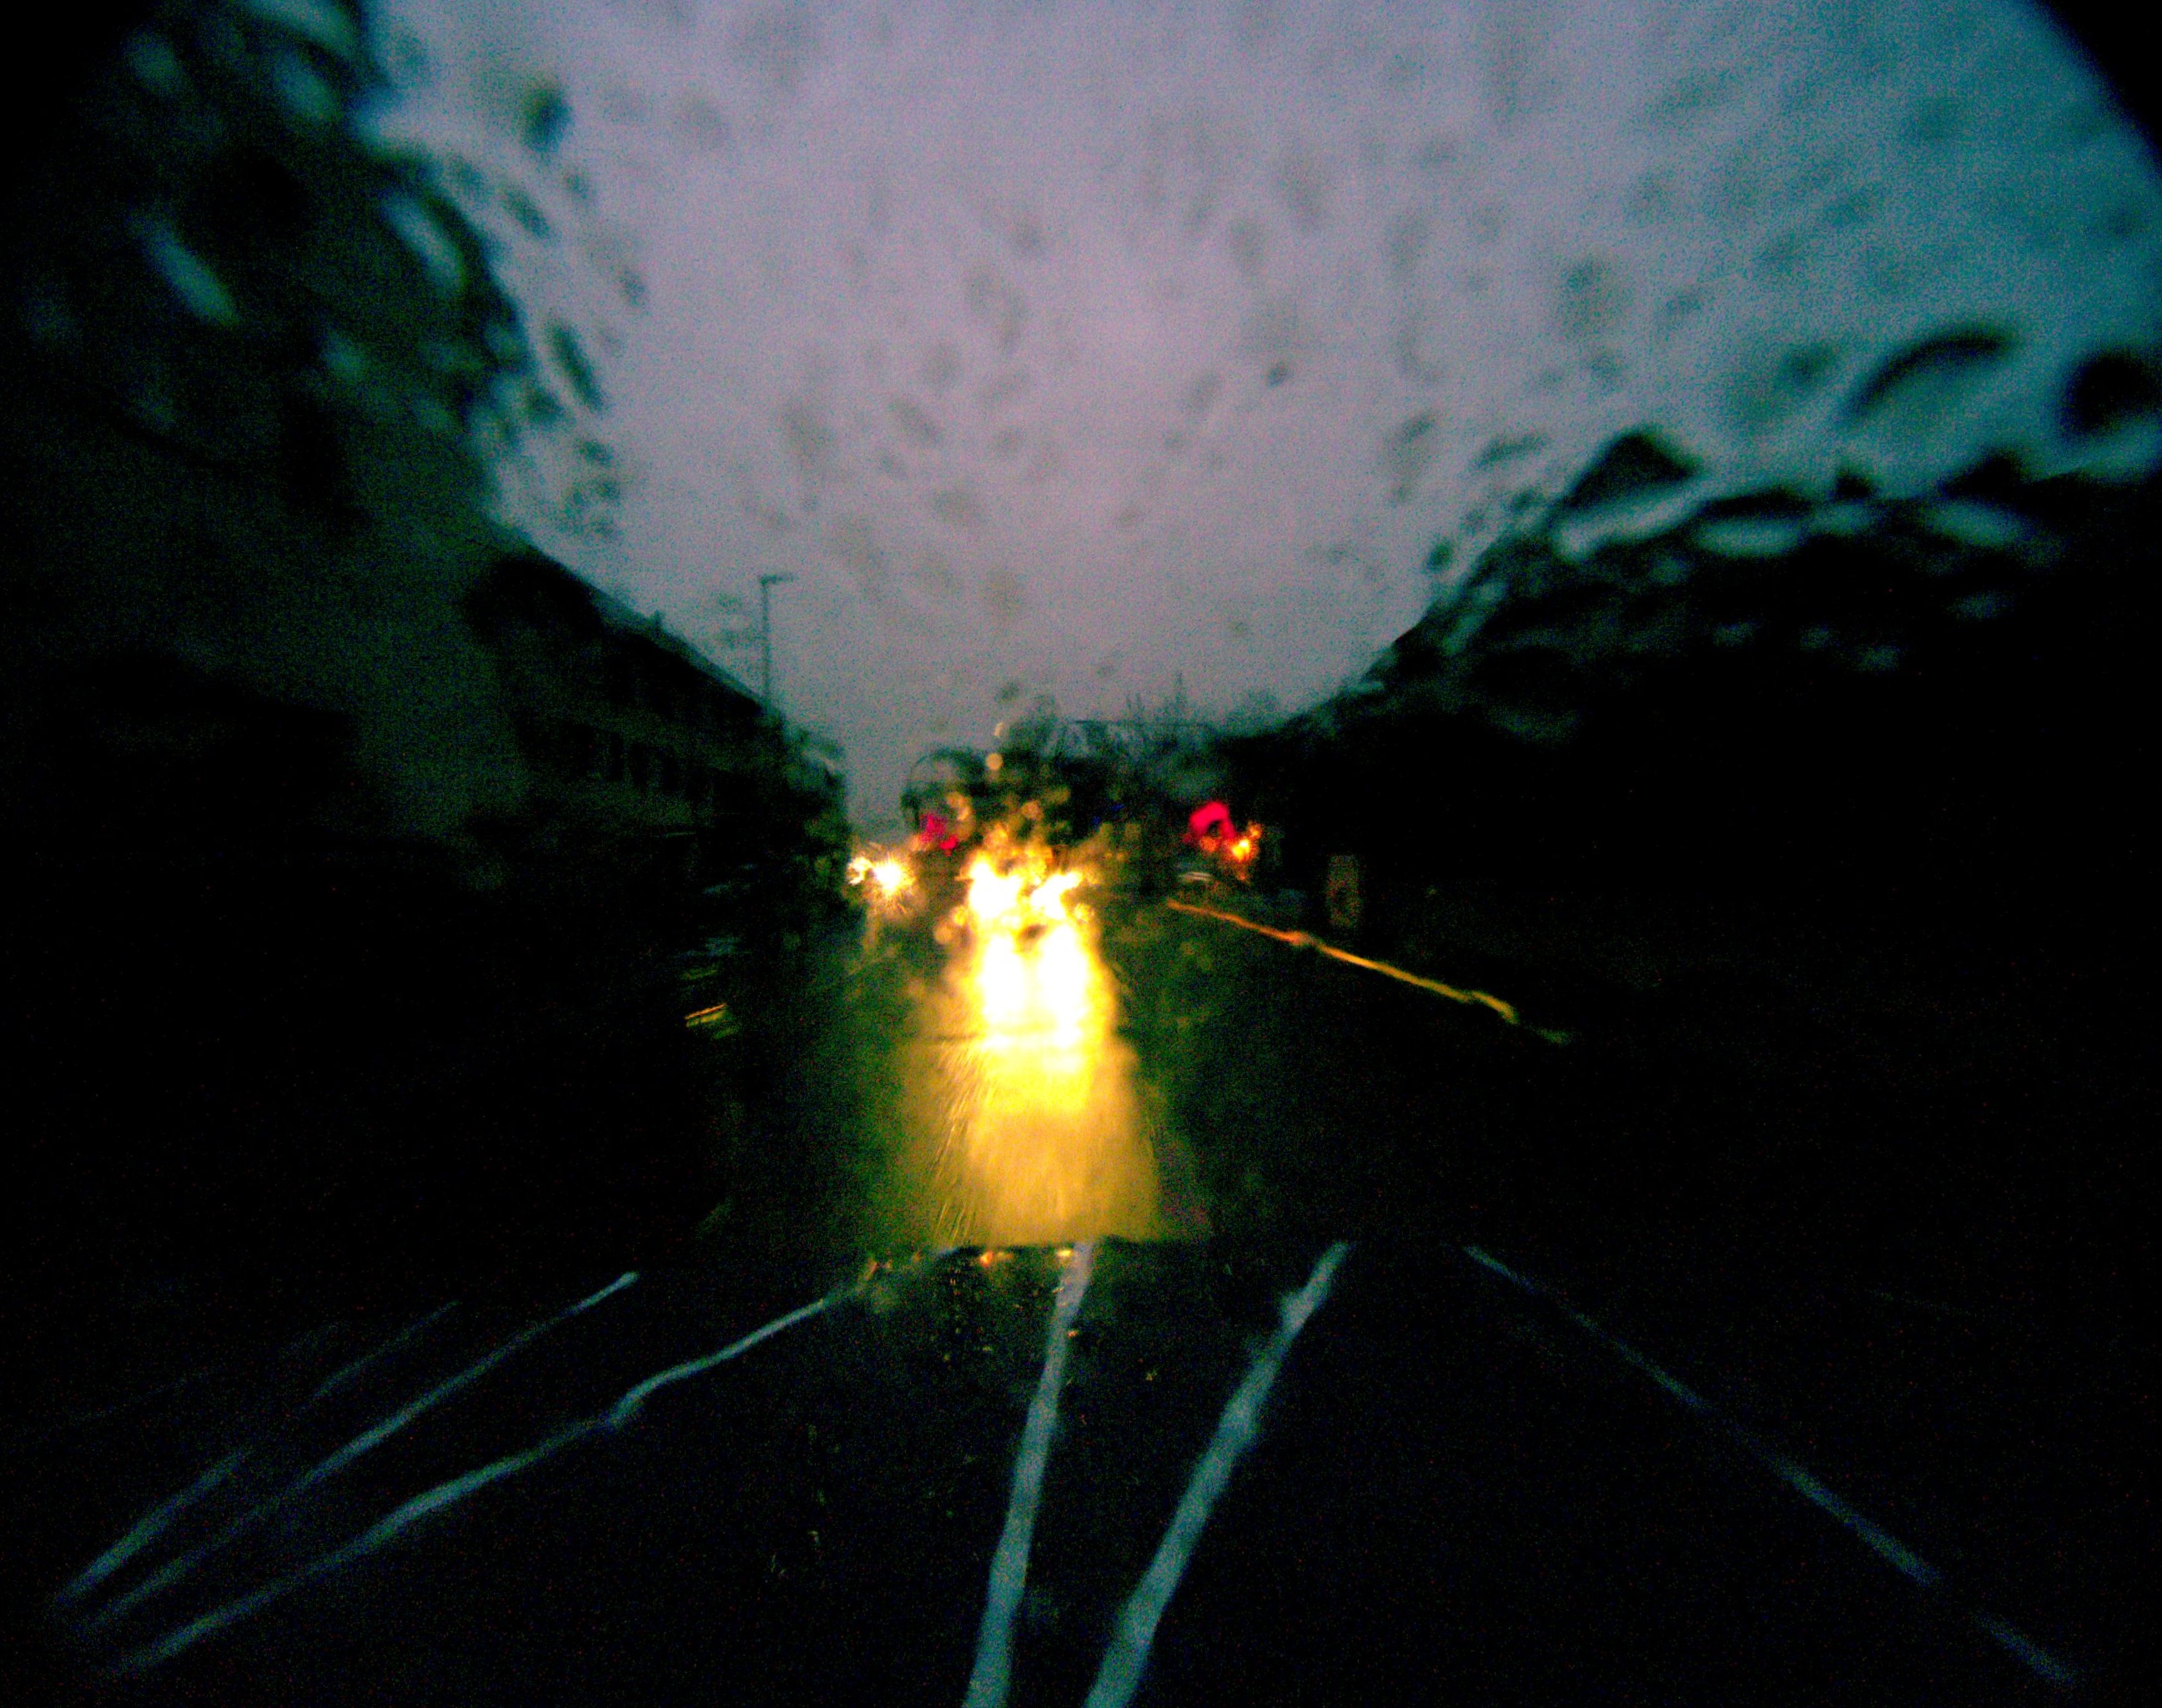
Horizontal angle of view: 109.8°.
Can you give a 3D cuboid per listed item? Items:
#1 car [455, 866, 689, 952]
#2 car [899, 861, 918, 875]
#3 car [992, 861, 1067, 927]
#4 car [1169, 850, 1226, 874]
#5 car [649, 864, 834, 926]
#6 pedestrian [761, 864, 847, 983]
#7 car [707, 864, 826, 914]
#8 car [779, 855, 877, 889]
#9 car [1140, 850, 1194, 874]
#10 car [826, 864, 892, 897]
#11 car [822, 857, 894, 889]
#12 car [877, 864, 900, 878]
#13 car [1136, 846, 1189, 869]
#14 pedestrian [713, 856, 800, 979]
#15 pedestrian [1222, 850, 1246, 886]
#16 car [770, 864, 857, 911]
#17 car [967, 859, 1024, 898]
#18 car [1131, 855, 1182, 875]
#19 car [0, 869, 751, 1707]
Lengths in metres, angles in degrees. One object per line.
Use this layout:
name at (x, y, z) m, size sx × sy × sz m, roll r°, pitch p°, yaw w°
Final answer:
car at (-9.322, 0.973, 14.132) m, size 3.225 × 1.465 × 1.587 m, roll 0°, pitch 0°, yaw -5°
car at (-22.975, 1.860, 101.157) m, size 1.903 × 1.607 × 3.821 m, roll -3°, pitch 0°, yaw -20°
car at (-1.334, 0.977, 20.102) m, size 1.732 × 1.475 × 3.603 m, roll -3°, pitch 0°, yaw -3°
car at (7.771, 0.557, 50.571) m, size 3.478 × 1.401 × 1.612 m, roll -3°, pitch 0°, yaw 20°
car at (-8.495, 0.992, 19.288) m, size 3.911 × 1.465 × 1.750 m, roll 0°, pitch 0°, yaw -5°
pedestrian at (-4.089, 0.993, 11.286) m, size 0.869 × 1.657 × 0.992 m, roll 1°, pitch 0°, yaw 0°
car at (-9.609, 1.056, 23.389) m, size 3.074 × 1.465 × 1.549 m, roll 0°, pitch 0°, yaw -5°
car at (-14.229, 1.038, 42.975) m, size 4.997 × 1.877 × 1.936 m, roll 0°, pitch -1°, yaw -8°
car at (6.365, 0.573, 55.985) m, size 3.627 × 1.602 × 1.612 m, roll -3°, pitch 0°, yaw 18°
car at (-10.302, 1.206, 35.385) m, size 2.772 × 1.465 × 1.426 m, roll 0°, pitch 0°, yaw -8°
car at (-13.396, 1.136, 45.918) m, size 4.057 × 1.832 × 1.861 m, roll 0°, pitch 0°, yaw -13°
car at (-22.058, 1.963, 87.052) m, size 1.904 × 1.457 × 3.993 m, roll -3°, pitch 0°, yaw -22°
car at (6.348, 0.276, 59.222) m, size 3.994 × 1.622 × 1.636 m, roll -2°, pitch 0°, yaw 10°
pedestrian at (-4.805, 0.912, 11.314) m, size 0.850 × 1.723 × 0.972 m, roll 1°, pitch 0°, yaw 0°
pedestrian at (7.468, 0.667, 37.133) m, size 0.882 × 1.724 × 0.955 m, roll -2°, pitch 0°, yaw 0°
car at (-9.142, 1.124, 26.130) m, size 2.591 × 1.538 × 1.550 m, roll 0°, pitch -1°, yaw -8°
car at (-4.018, 1.087, 35.280) m, size 1.926 × 1.608 × 3.863 m, roll -3°, pitch 0°, yaw -16°
car at (6.376, 0.925, 64.206) m, size 3.992 × 1.622 × 1.636 m, roll -2°, pitch 0°, yaw 15°
car at (-2.303, 0.922, 0.945) m, size 1.852 × 1.627 × 4.335 m, roll -3°, pitch 0°, yaw -1°
